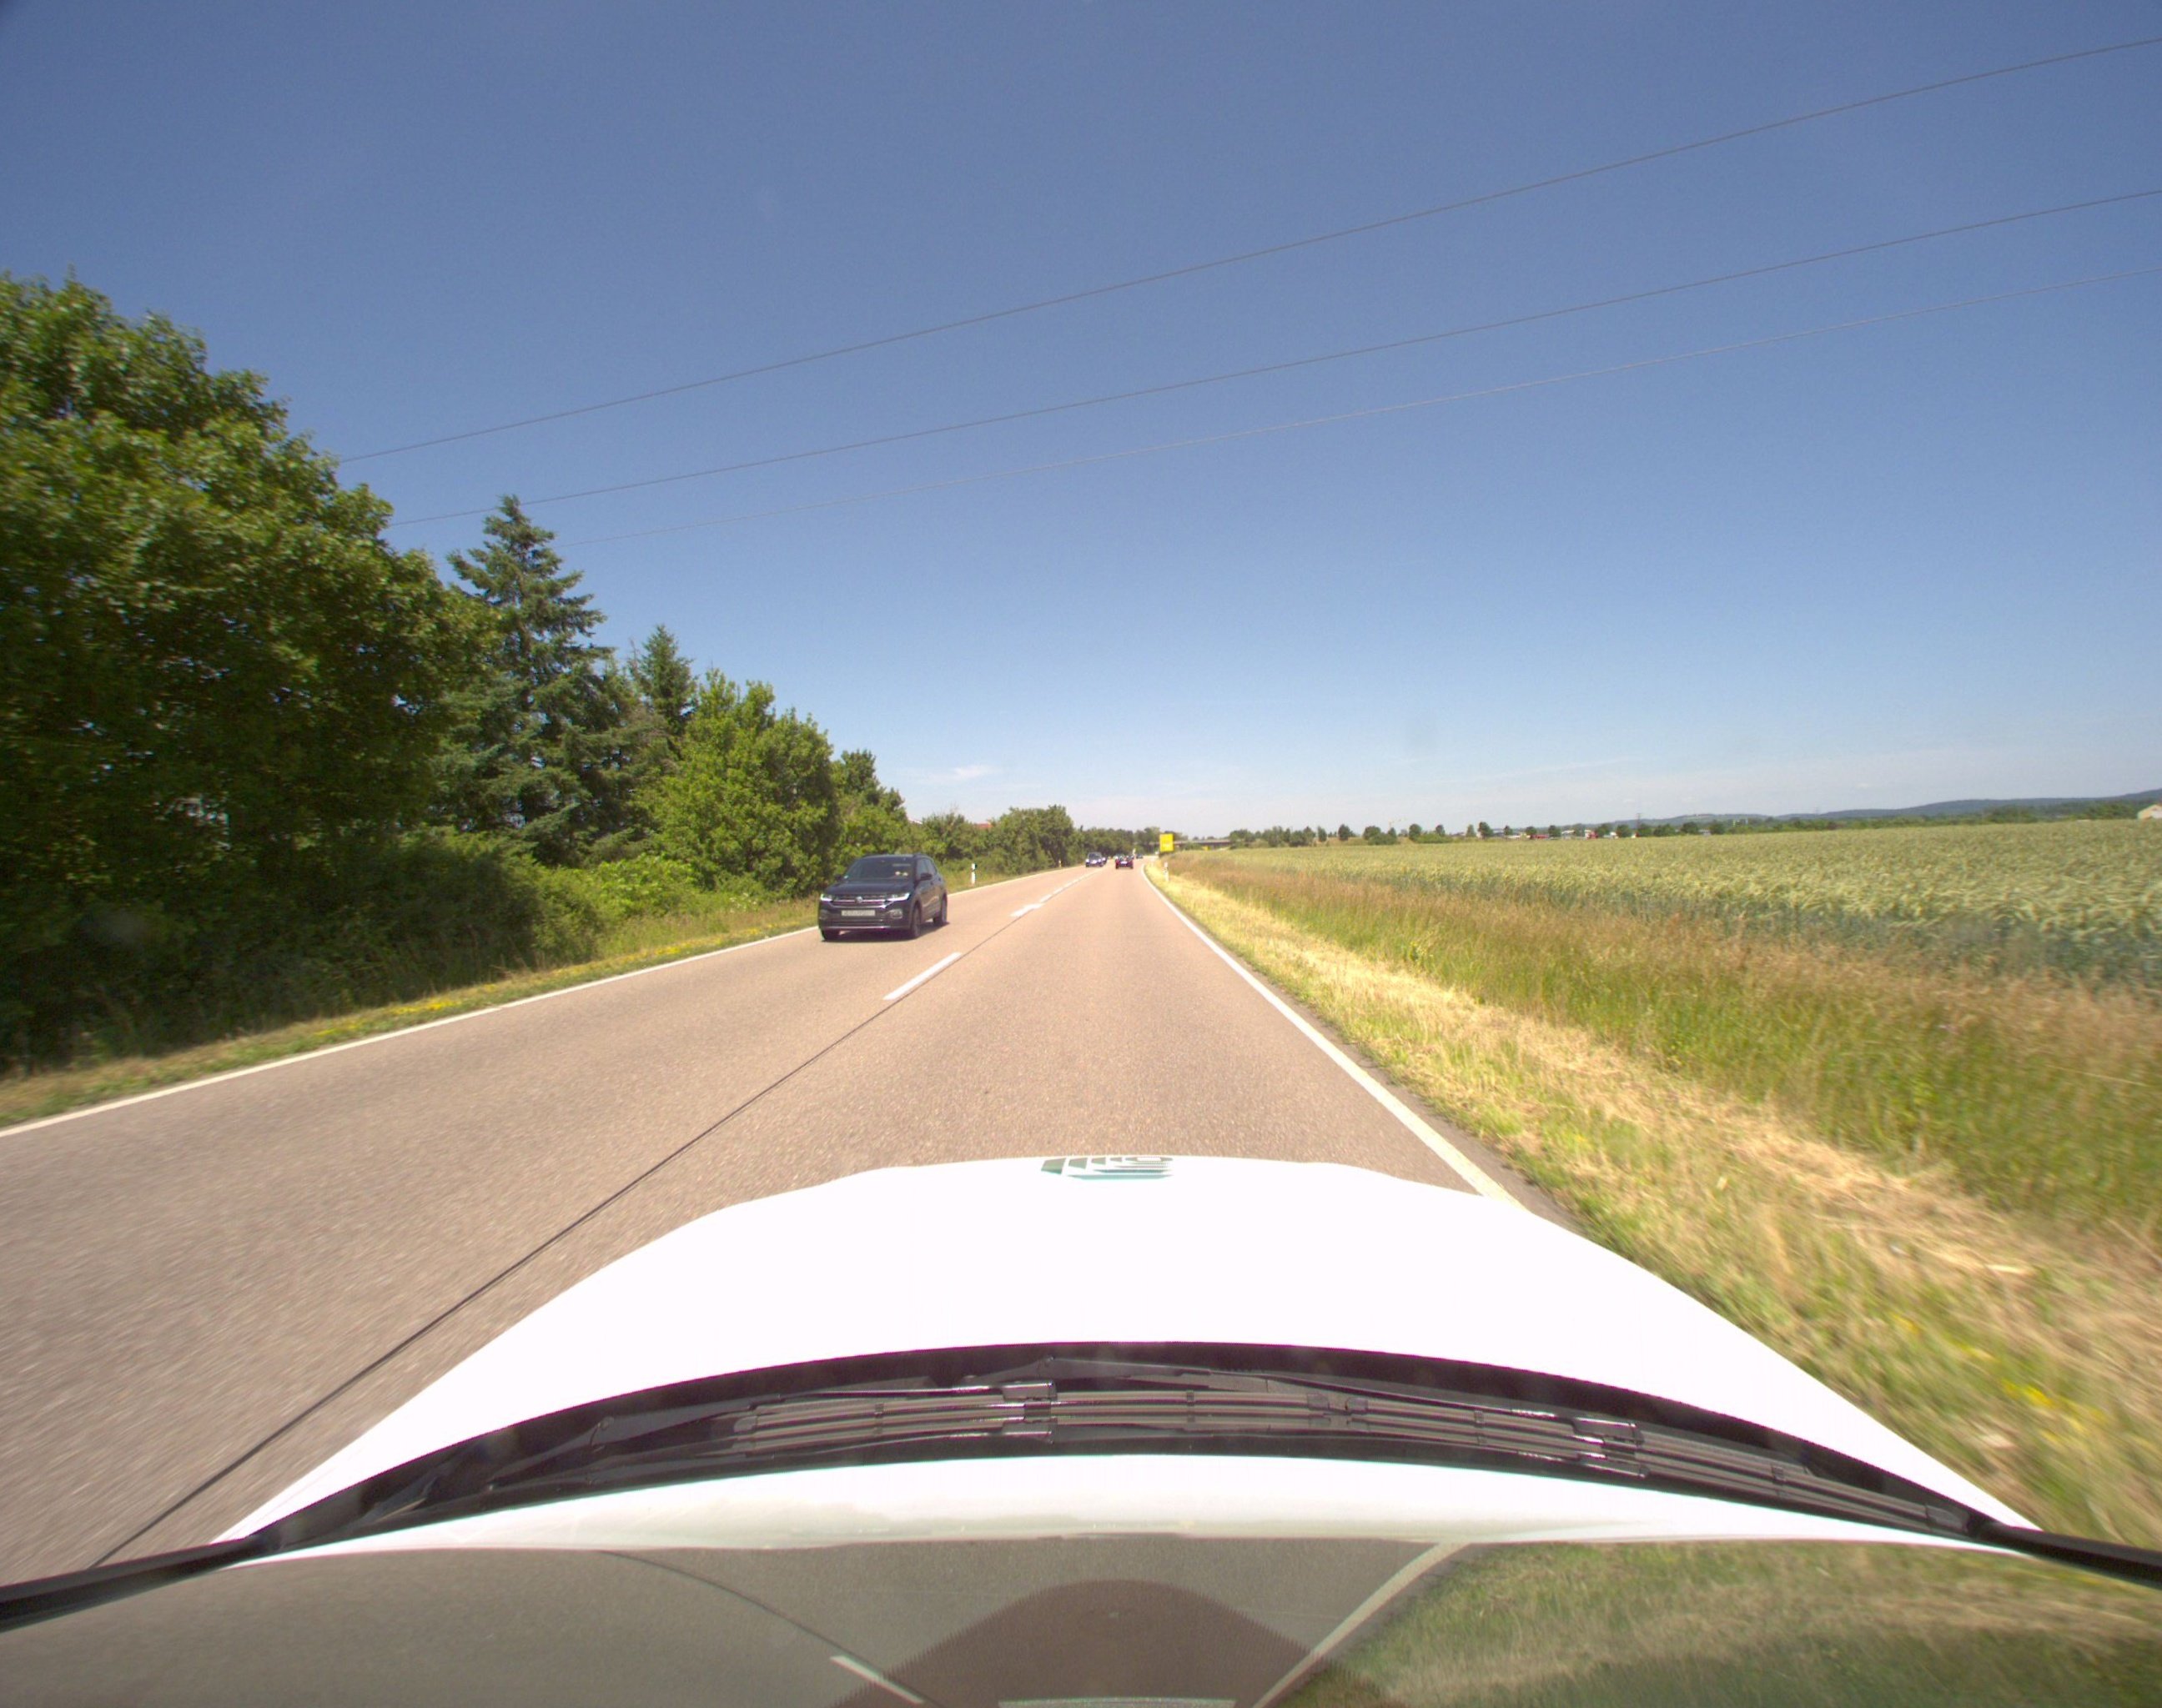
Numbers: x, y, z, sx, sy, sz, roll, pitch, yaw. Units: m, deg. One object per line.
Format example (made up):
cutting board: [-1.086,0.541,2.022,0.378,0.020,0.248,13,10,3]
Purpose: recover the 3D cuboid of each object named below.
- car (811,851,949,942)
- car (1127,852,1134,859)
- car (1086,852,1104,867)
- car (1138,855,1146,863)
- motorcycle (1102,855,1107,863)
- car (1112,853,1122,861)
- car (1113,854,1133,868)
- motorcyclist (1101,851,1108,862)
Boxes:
car: [-3.824,0.749,16.092,1.692,1.566,3.672,-1,0,2]
car: [11.548,0.381,190.746,1.590,1.442,4.005,-1,0,4]
car: [1.662,0.642,95.539,1.811,1.701,5.006,-1,0,4]
car: [16.093,1.358,214.047,1.983,2.013,4.006,0,0,6]
motorcycle: [3.315,0.632,114.155,0.614,1.108,2.023,-1,0,2]
car: [6.772,0.523,152.864,1.699,1.381,3.824,-1,0,4]
car: [4.228,0.698,82.187,1.805,1.441,4.006,0,0,6]
motorcyclist: [3.306,0.341,114.050,0.832,1.474,1.818,-1,0,2]
